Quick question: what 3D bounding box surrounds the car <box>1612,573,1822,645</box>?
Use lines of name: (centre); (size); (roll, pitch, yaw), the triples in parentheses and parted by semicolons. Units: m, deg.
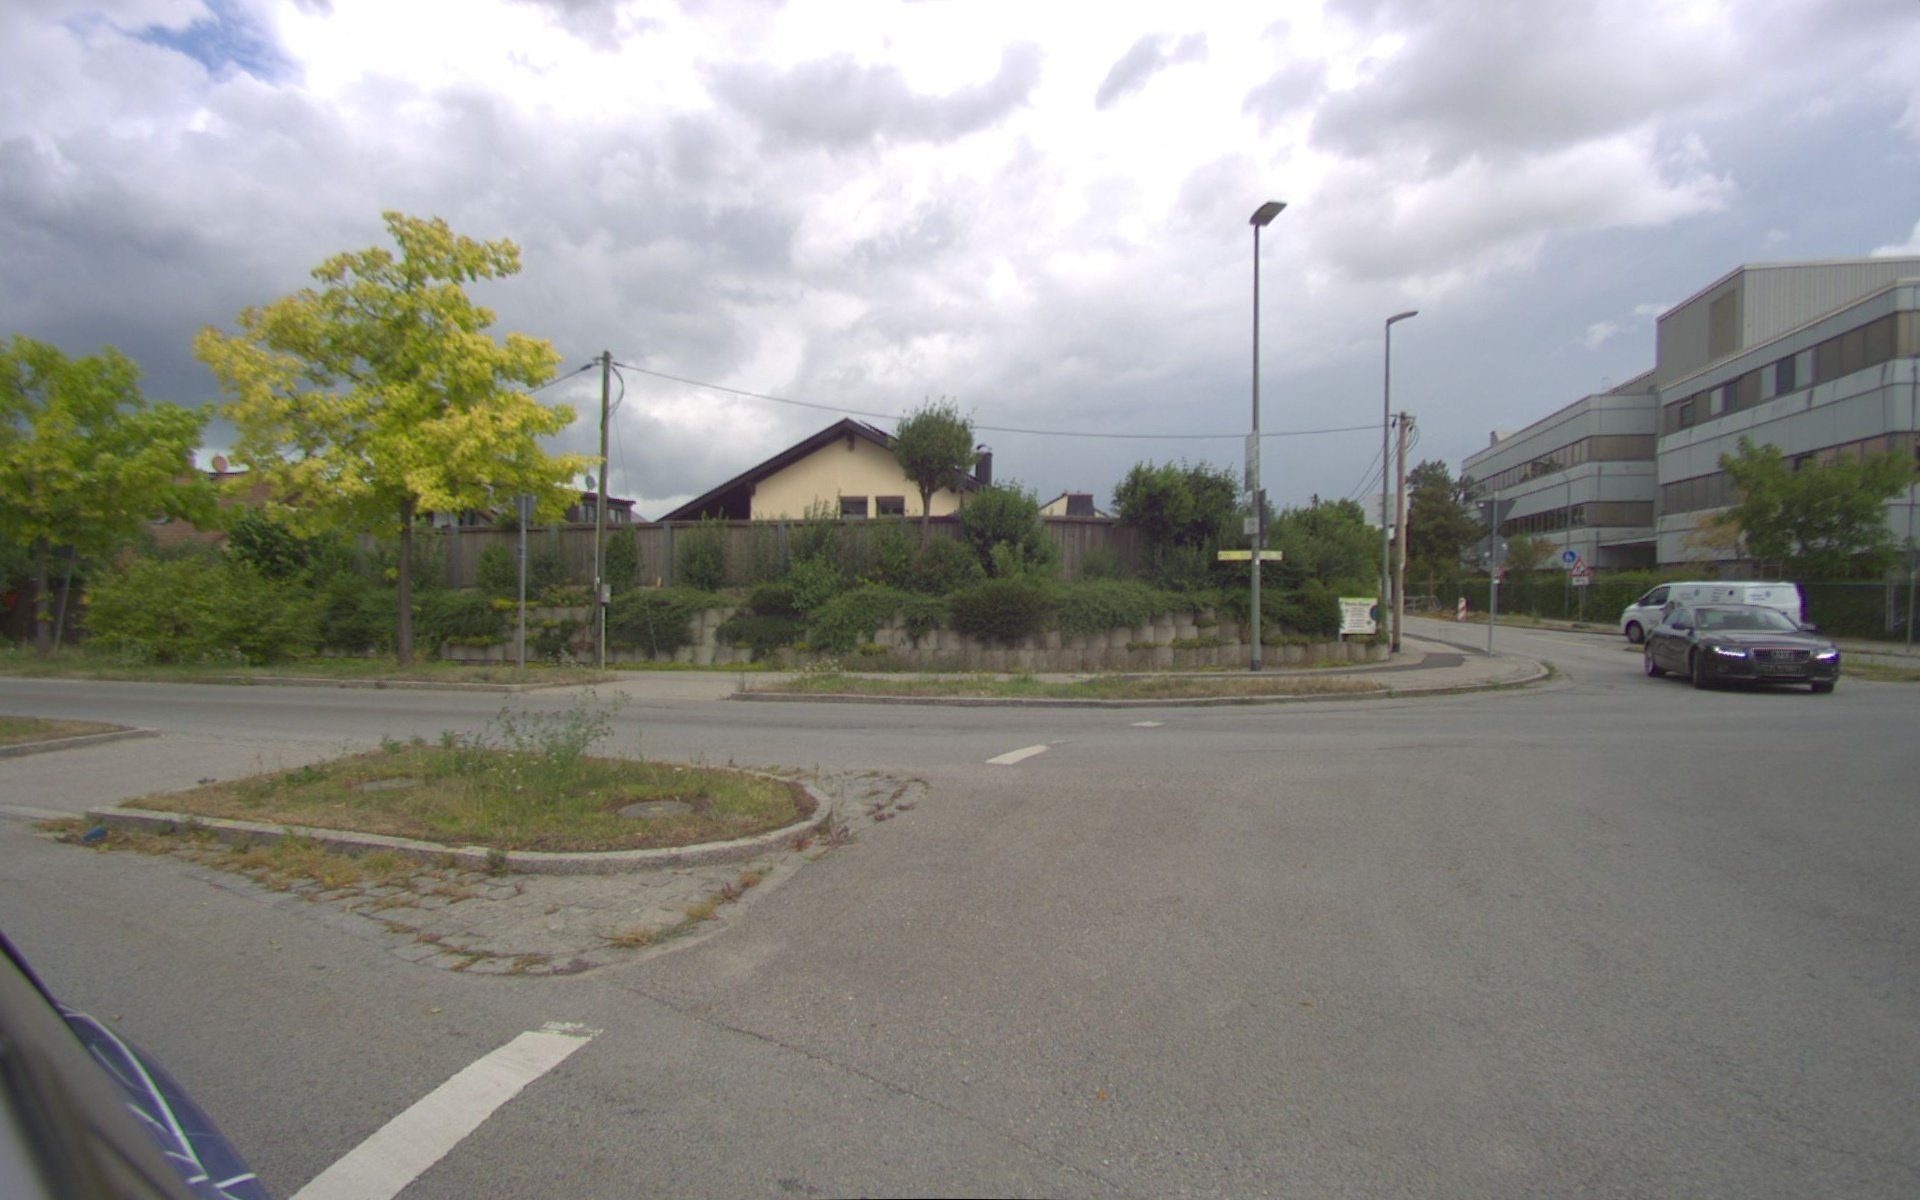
car: (21.847, 0.236, 29.533); (1.969, 1.919, 5.079); (0, 0, -6)

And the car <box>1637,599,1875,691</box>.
car: (13.259, 0.664, 17.227); (1.922, 1.357, 4.439); (0, 0, 21)
